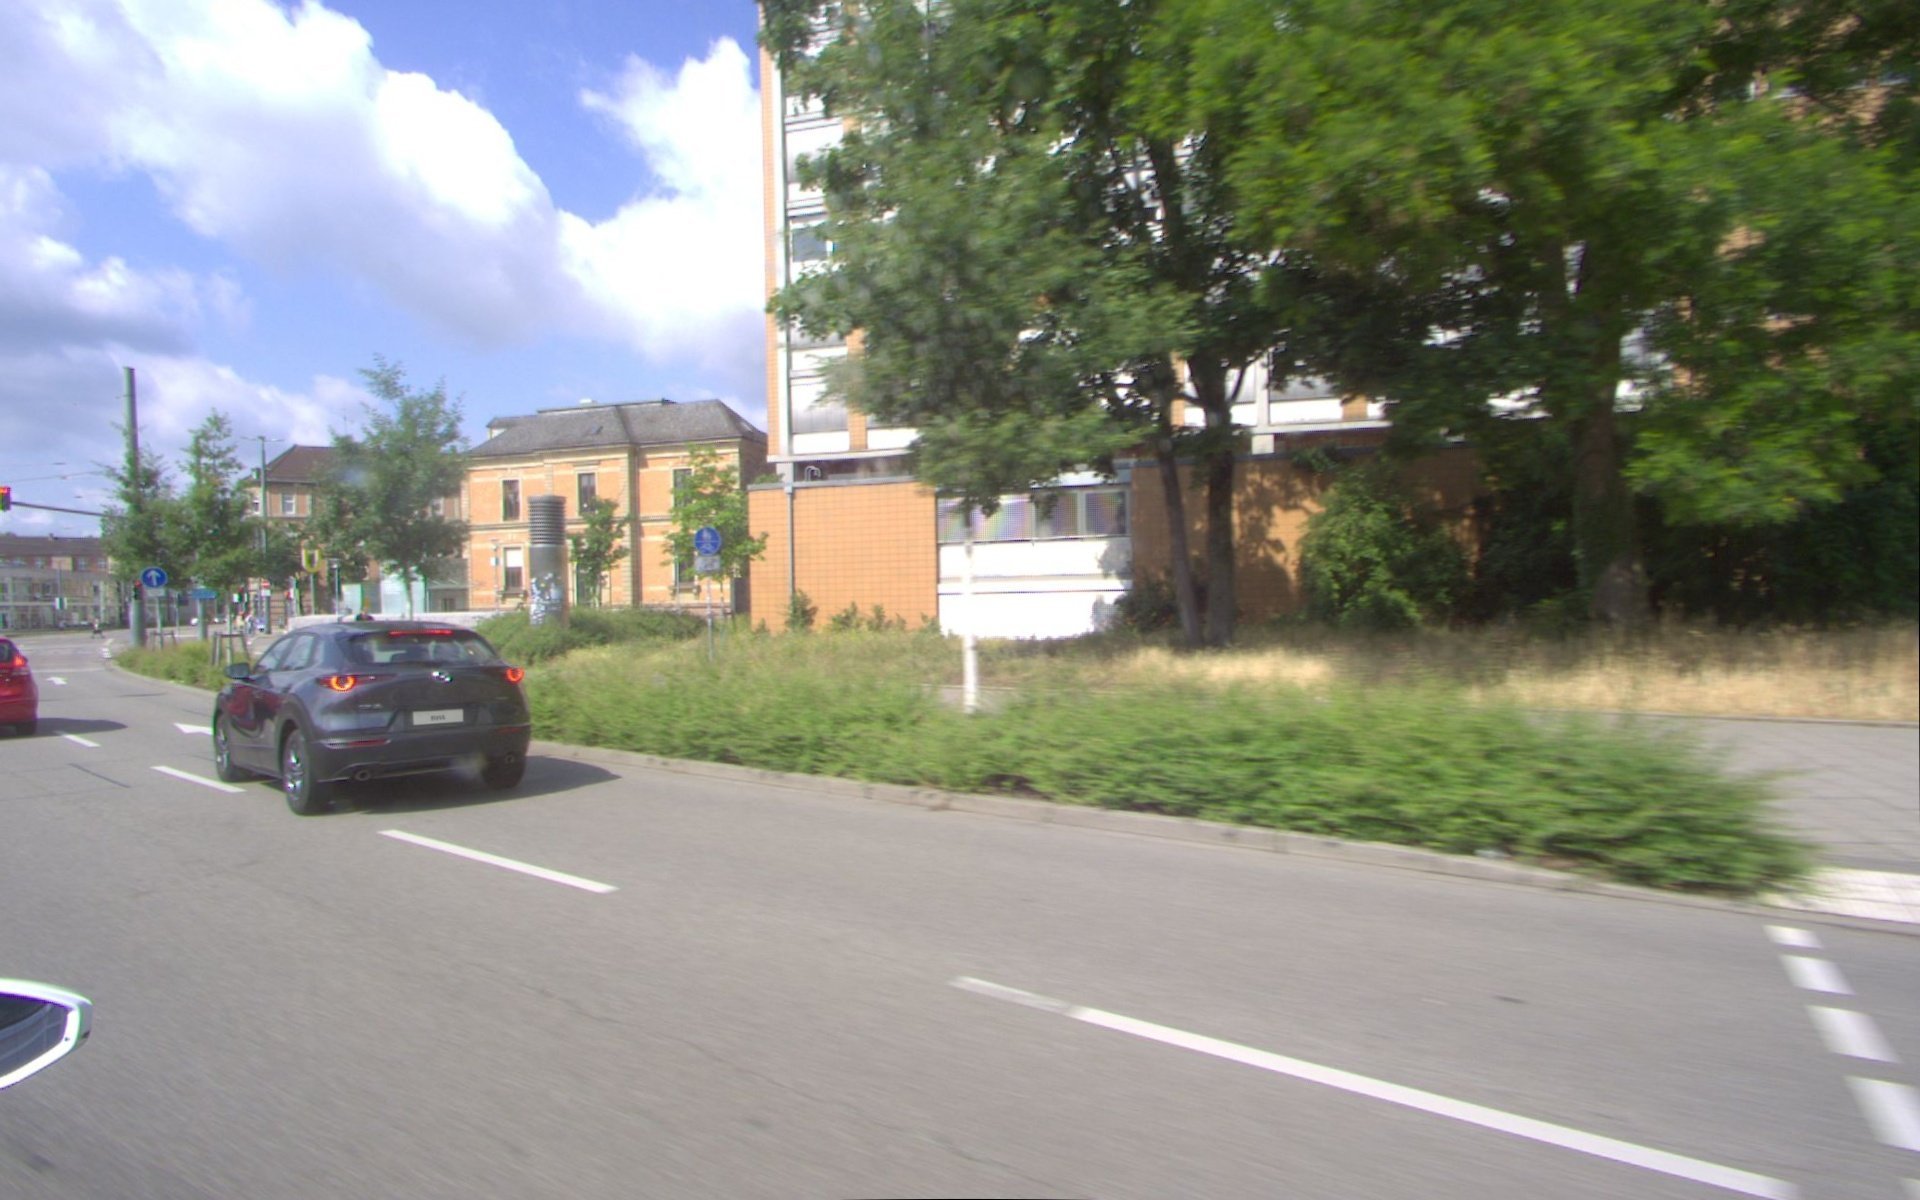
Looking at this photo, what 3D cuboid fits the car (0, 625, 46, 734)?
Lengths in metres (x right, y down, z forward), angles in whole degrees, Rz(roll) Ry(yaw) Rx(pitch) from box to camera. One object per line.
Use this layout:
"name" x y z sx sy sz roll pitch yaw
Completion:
"car" -14.756 1.104 14.540 4.021 1.458 1.807 -1 -1 42

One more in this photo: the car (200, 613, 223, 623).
"car" -109.507 2.641 146.518 1.969 1.461 3.983 -1 0 -27

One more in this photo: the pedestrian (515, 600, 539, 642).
"pedestrian" -18.058 0.872 41.778 0.752 1.709 0.879 -1 0 -16

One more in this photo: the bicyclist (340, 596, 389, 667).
"bicyclist" -14.975 0.788 25.167 0.954 1.725 0.732 0 2 41

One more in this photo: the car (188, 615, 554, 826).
"car" -5.635 0.940 9.348 4.159 1.527 1.797 -2 -1 42

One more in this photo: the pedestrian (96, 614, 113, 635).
"pedestrian" -64.642 1.875 75.686 0.661 1.556 0.675 -1 1 4

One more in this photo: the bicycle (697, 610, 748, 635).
"bicycle" -10.299 0.974 43.429 2.032 1.087 0.666 -1 1 9

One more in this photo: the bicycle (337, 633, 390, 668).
"bicycle" -15.048 1.260 25.235 1.769 0.822 0.621 -1 2 42
